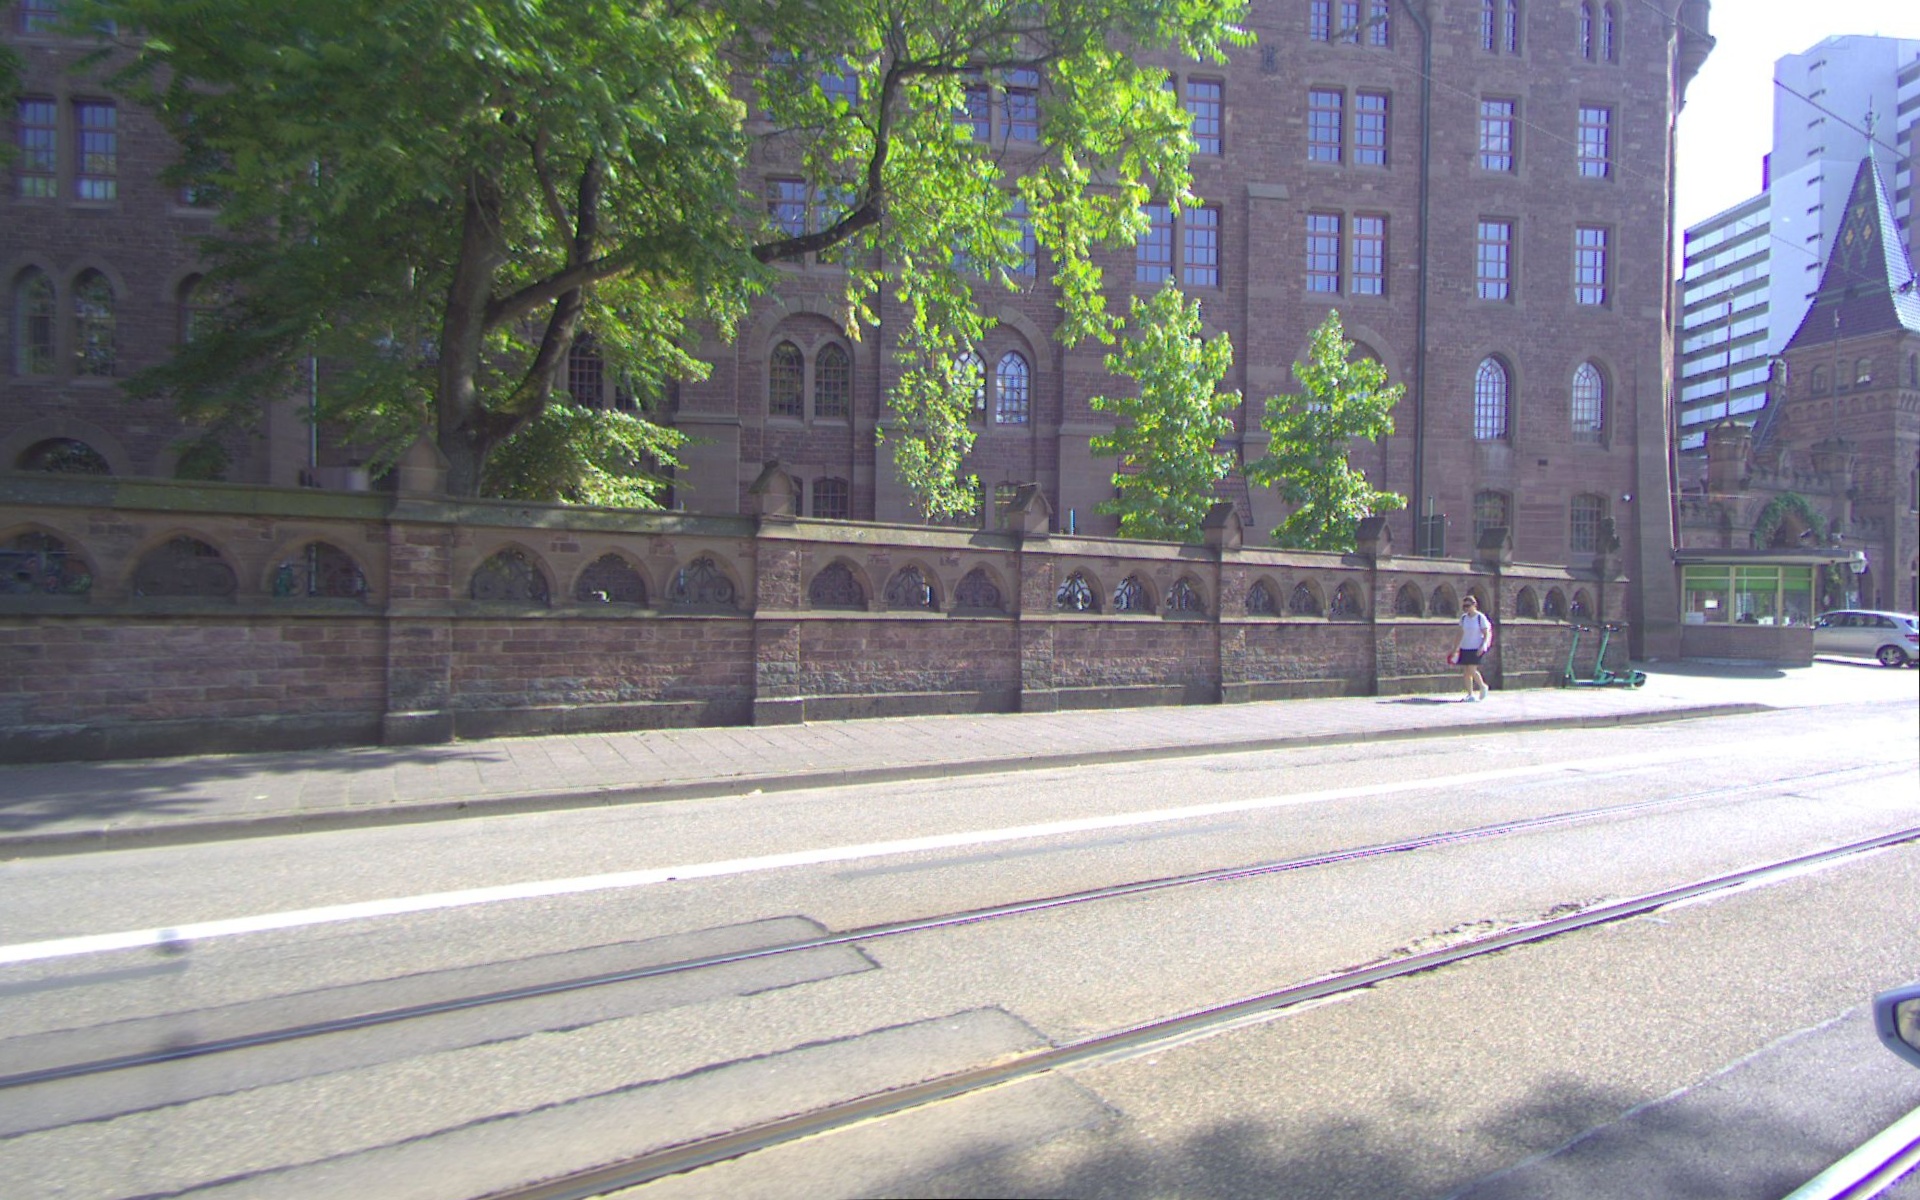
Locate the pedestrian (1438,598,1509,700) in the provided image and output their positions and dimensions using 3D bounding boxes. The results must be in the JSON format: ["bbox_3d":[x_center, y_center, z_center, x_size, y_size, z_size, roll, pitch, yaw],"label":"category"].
[{"bbox_3d":[8.331,0.777,16.293,0.766,1.610,0.711,1,0,-31],"label":"pedestrian"}]

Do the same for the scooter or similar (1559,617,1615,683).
[{"bbox_3d":[11.731,0.932,18.804,0.801,1.163,0.284,4,1,24],"label":"scooter or similar"}]

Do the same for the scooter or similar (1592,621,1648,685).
[{"bbox_3d":[12.771,1.010,19.442,0.801,1.163,0.284,4,1,24],"label":"scooter or similar"}]

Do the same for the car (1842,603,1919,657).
[{"bbox_3d":[33.116,1.116,34.060,1.935,1.668,4.371,1,4,-32],"label":"car"}]

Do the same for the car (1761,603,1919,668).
[{"bbox_3d":[27.945,1.066,31.567,1.799,1.617,3.883,1,4,-27],"label":"car"}]
